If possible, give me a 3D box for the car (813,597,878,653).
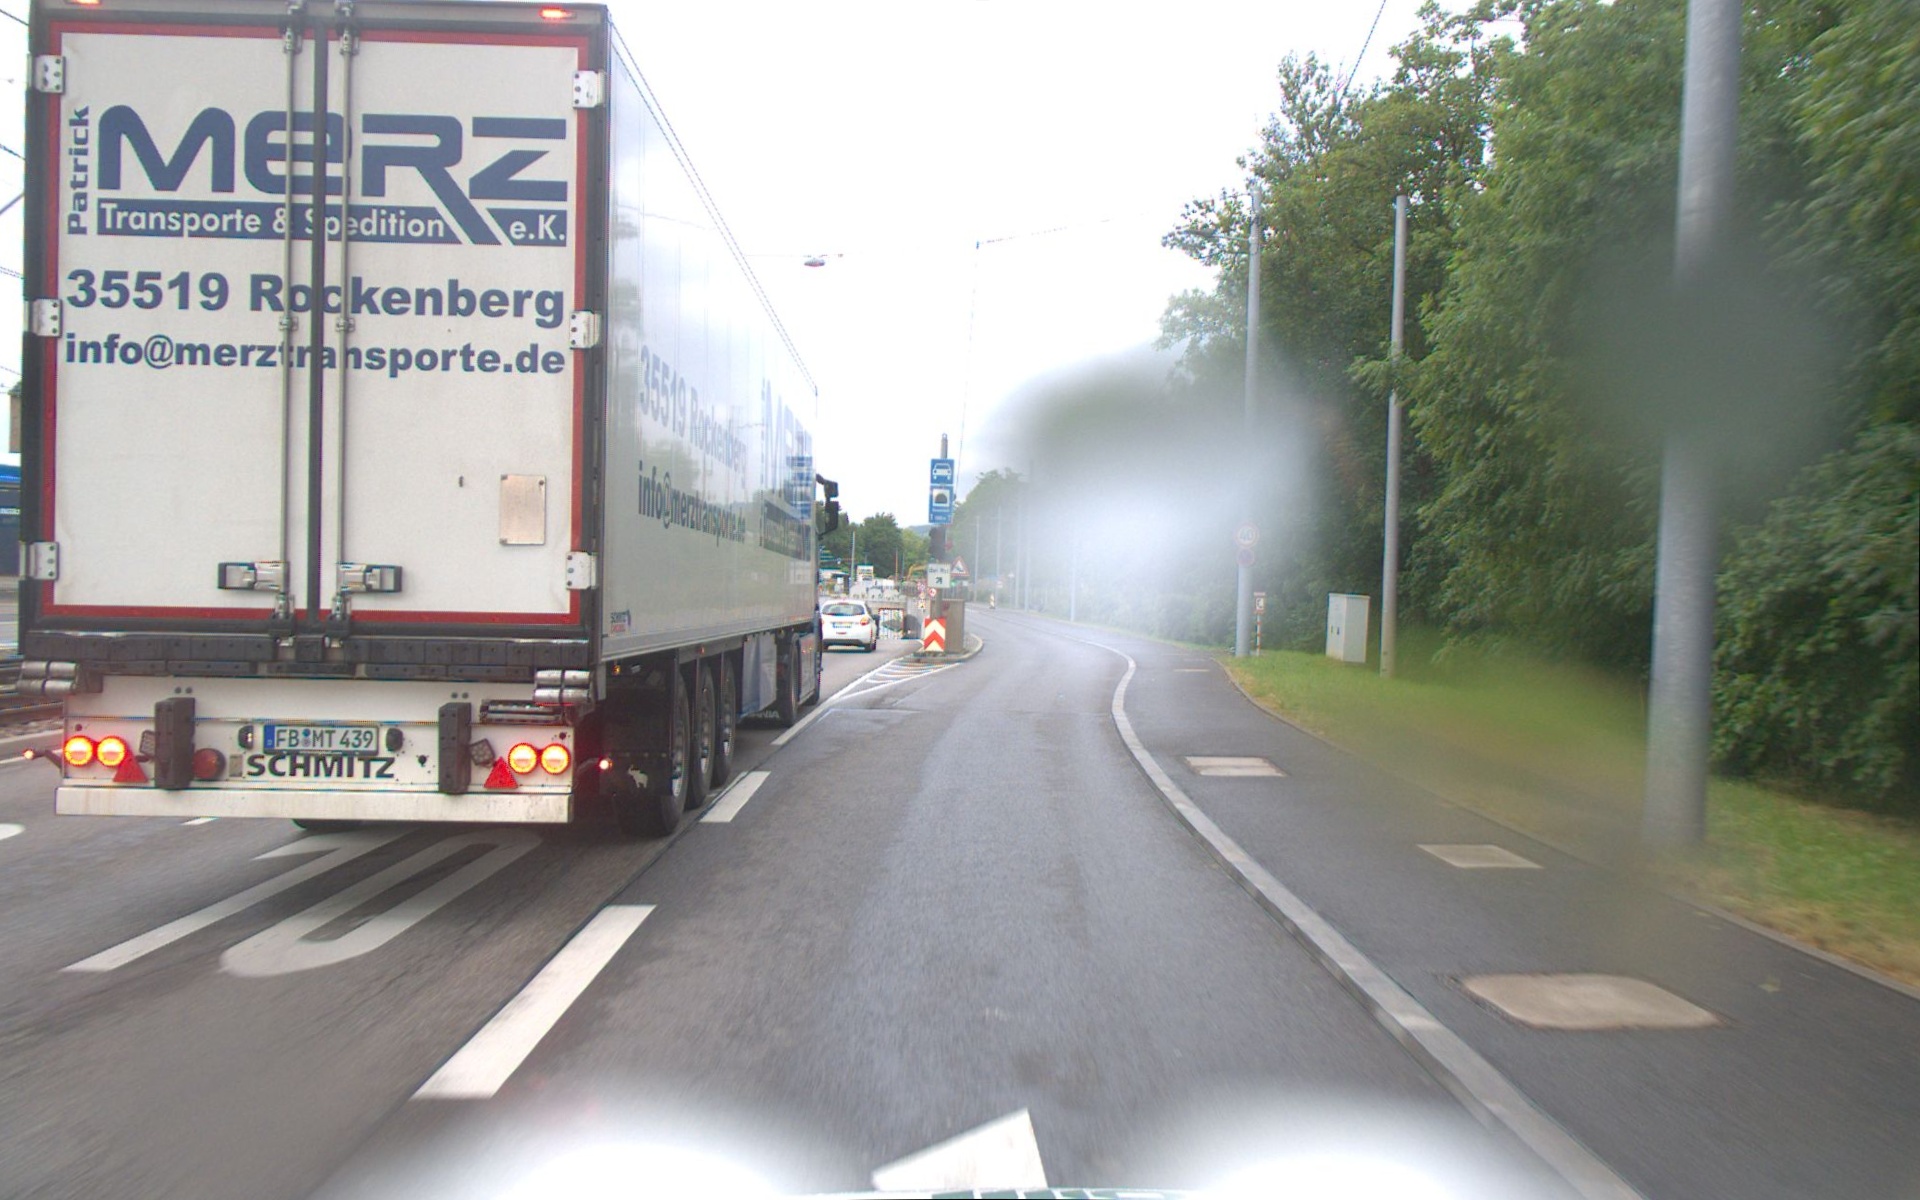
[{"bbox_3d":[-3.306,0.698,48.387,1.773,1.448,3.999,1,2,-2],"label":"car"}]

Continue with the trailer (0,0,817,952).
[{"bbox_3d":[-2.962,-0.723,13.638,2.706,4.327,13.180,0,0,-1],"label":"trailer"}]

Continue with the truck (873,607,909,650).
[{"bbox_3d":[-6.875,2.801,166.229,3.447,4.110,8.070,1,0,-2],"label":"truck"}]

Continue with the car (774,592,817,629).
[{"bbox_3d":[-7.294,0.430,73.688,1.647,1.471,3.999,1,2,-2],"label":"car"}]

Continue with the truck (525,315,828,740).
[{"bbox_3d":[-3.109,-0.753,19.869,2.700,4.278,6.305,0,0,-2],"label":"truck"}]
